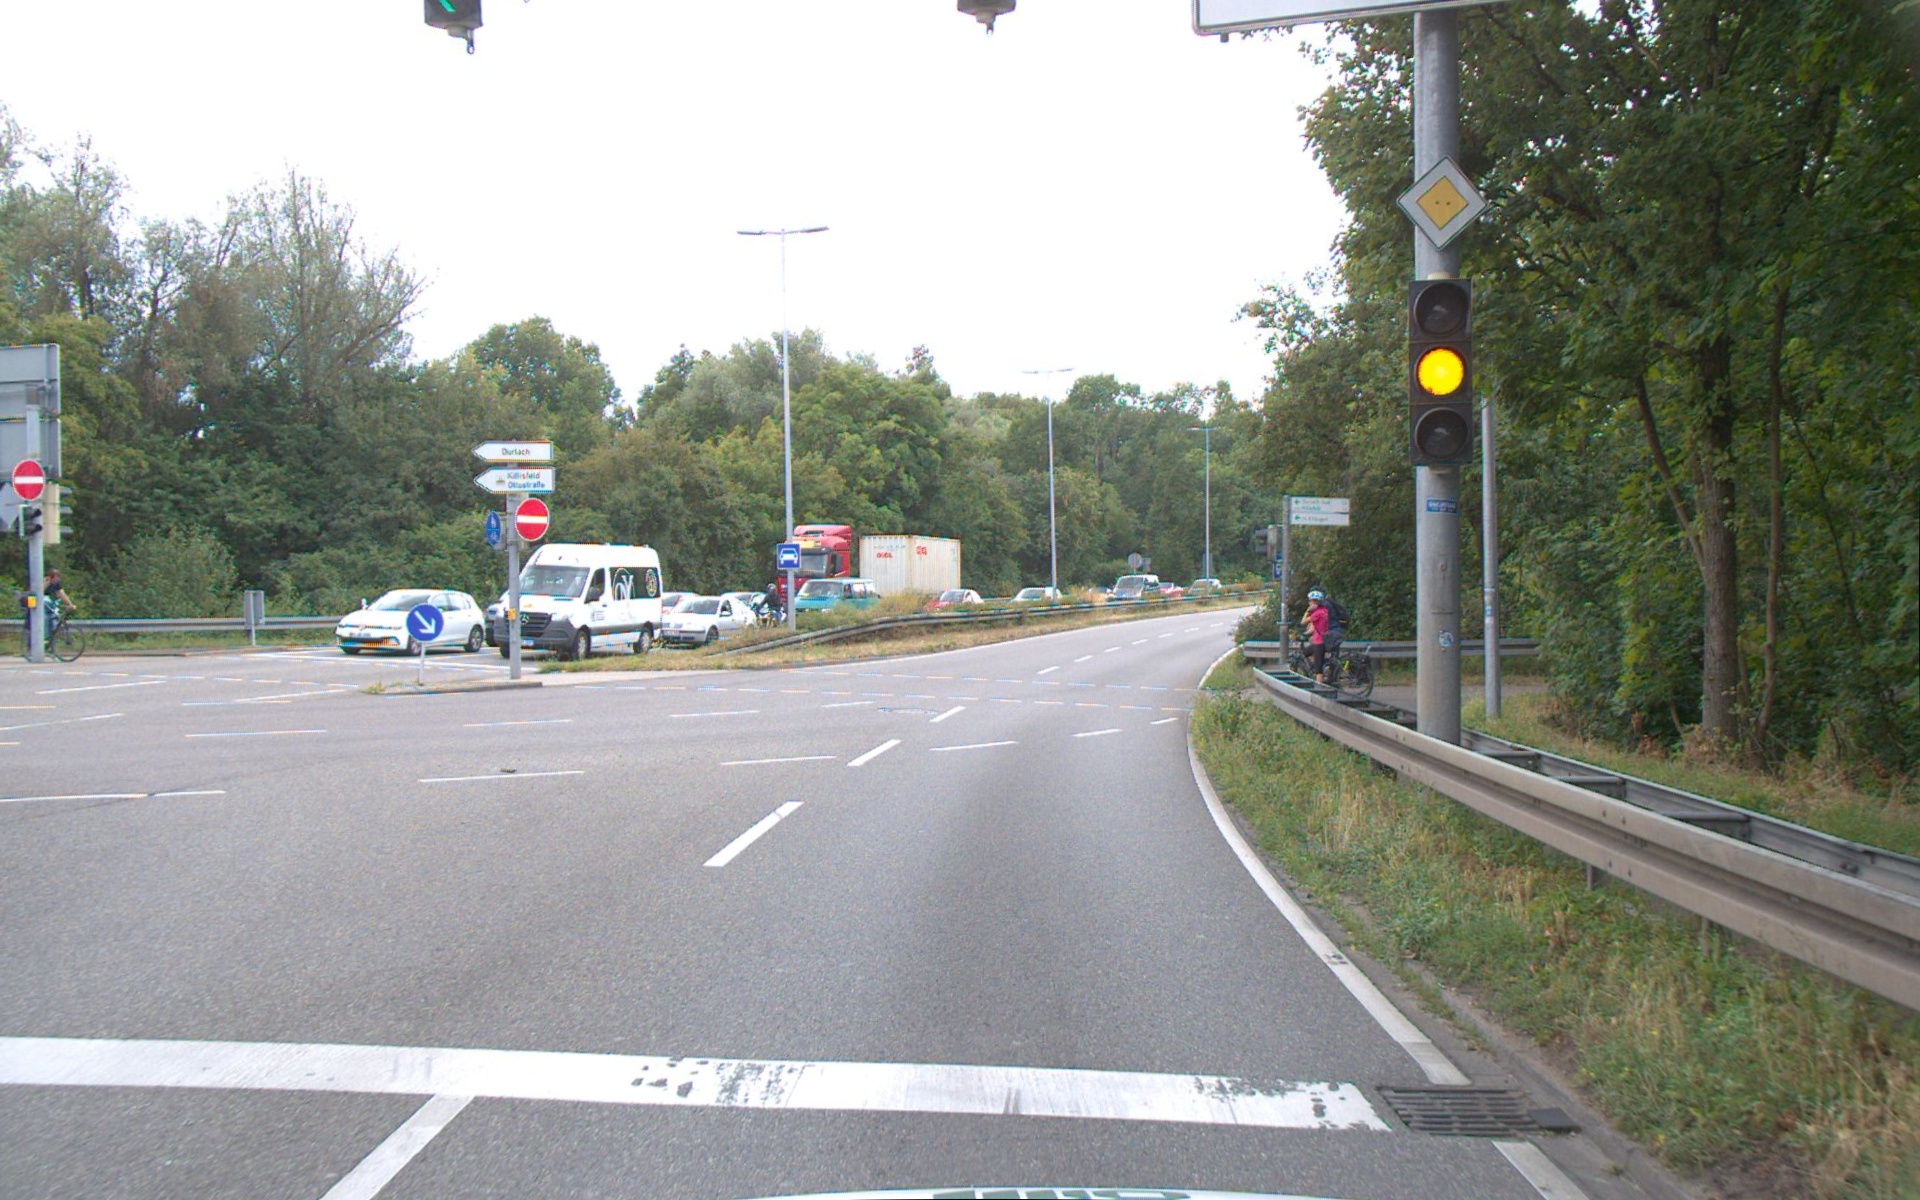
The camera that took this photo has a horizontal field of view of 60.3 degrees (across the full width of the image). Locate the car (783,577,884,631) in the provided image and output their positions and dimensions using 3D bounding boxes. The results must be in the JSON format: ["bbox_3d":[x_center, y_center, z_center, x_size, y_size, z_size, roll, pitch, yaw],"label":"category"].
[{"bbox_3d":[-4.293,0.122,57.038,1.766,1.759,4.963,1,0,17],"label":"car"}]

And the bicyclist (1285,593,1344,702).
[{"bbox_3d":[5.826,0.775,27.173,0.833,1.762,0.637,0,-1,22],"label":"bicyclist"}]

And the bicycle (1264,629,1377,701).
[{"bbox_3d":[5.913,1.057,27.125,1.706,1.158,0.630,-1,-1,23],"label":"bicycle"}]

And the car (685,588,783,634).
[{"bbox_3d":[-7.684,0.357,56.626,1.766,1.491,4.282,1,0,15],"label":"car"}]

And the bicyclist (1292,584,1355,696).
[{"bbox_3d":[6.284,0.687,28.621,0.929,1.876,0.665,-2,0,5],"label":"bicyclist"}]

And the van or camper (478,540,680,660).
[{"bbox_3d":[-8.959,-0.018,39.689,2.114,2.634,6.501,1,0,13],"label":"van or camper"}]

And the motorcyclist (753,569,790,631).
[{"bbox_3d":[-5.717,-0.012,50.168,0.847,1.855,0.926,0,0,13],"label":"motorcyclist"}]

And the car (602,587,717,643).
[{"bbox_3d":[-9.278,0.443,51.404,1.951,1.642,4.003,1,0,15],"label":"car"}]

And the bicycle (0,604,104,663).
[{"bbox_3d":[-17.306,0.630,31.457,1.898,1.071,0.708,-2,-1,20],"label":"bicycle"}]

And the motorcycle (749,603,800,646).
[{"bbox_3d":[-5.607,0.718,50.141,0.782,1.246,2.328,1,0,13],"label":"motorcycle"}]

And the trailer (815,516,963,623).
[{"bbox_3d":[-2.847,-1.216,71.117,2.482,4.220,10.774,0,0,20],"label":"trailer"}]

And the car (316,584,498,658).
[{"bbox_3d":[-12.652,0.452,38.160,1.951,1.574,4.543,1,0,11],"label":"car"}]

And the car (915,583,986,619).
[{"bbox_3d":[-0.379,0.050,69.690,1.766,1.457,4.127,1,0,18],"label":"car"}]

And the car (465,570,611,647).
[{"bbox_3d":[-11.174,0.213,44.083,1.951,1.935,4.170,1,0,15],"label":"car"}]

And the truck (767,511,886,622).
[{"bbox_3d":[-5.132,-1.265,64.727,2.515,4.155,5.624,0,0,20],"label":"truck"}]

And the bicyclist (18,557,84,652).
[{"bbox_3d":[-17.301,0.092,31.486,0.727,1.765,0.801,-1,-1,20],"label":"bicyclist"}]

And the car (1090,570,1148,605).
[{"bbox_3d":[8.878,-0.677,92.200,1.968,1.896,5.279,1,0,20],"label":"car"}]

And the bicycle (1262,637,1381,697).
[{"bbox_3d":[6.241,1.154,28.613,1.930,0.957,0.661,-2,0,6],"label":"bicycle"}]

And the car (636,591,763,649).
[{"bbox_3d":[-7.212,0.526,46.294,1.951,1.524,4.403,1,0,14],"label":"car"}]
